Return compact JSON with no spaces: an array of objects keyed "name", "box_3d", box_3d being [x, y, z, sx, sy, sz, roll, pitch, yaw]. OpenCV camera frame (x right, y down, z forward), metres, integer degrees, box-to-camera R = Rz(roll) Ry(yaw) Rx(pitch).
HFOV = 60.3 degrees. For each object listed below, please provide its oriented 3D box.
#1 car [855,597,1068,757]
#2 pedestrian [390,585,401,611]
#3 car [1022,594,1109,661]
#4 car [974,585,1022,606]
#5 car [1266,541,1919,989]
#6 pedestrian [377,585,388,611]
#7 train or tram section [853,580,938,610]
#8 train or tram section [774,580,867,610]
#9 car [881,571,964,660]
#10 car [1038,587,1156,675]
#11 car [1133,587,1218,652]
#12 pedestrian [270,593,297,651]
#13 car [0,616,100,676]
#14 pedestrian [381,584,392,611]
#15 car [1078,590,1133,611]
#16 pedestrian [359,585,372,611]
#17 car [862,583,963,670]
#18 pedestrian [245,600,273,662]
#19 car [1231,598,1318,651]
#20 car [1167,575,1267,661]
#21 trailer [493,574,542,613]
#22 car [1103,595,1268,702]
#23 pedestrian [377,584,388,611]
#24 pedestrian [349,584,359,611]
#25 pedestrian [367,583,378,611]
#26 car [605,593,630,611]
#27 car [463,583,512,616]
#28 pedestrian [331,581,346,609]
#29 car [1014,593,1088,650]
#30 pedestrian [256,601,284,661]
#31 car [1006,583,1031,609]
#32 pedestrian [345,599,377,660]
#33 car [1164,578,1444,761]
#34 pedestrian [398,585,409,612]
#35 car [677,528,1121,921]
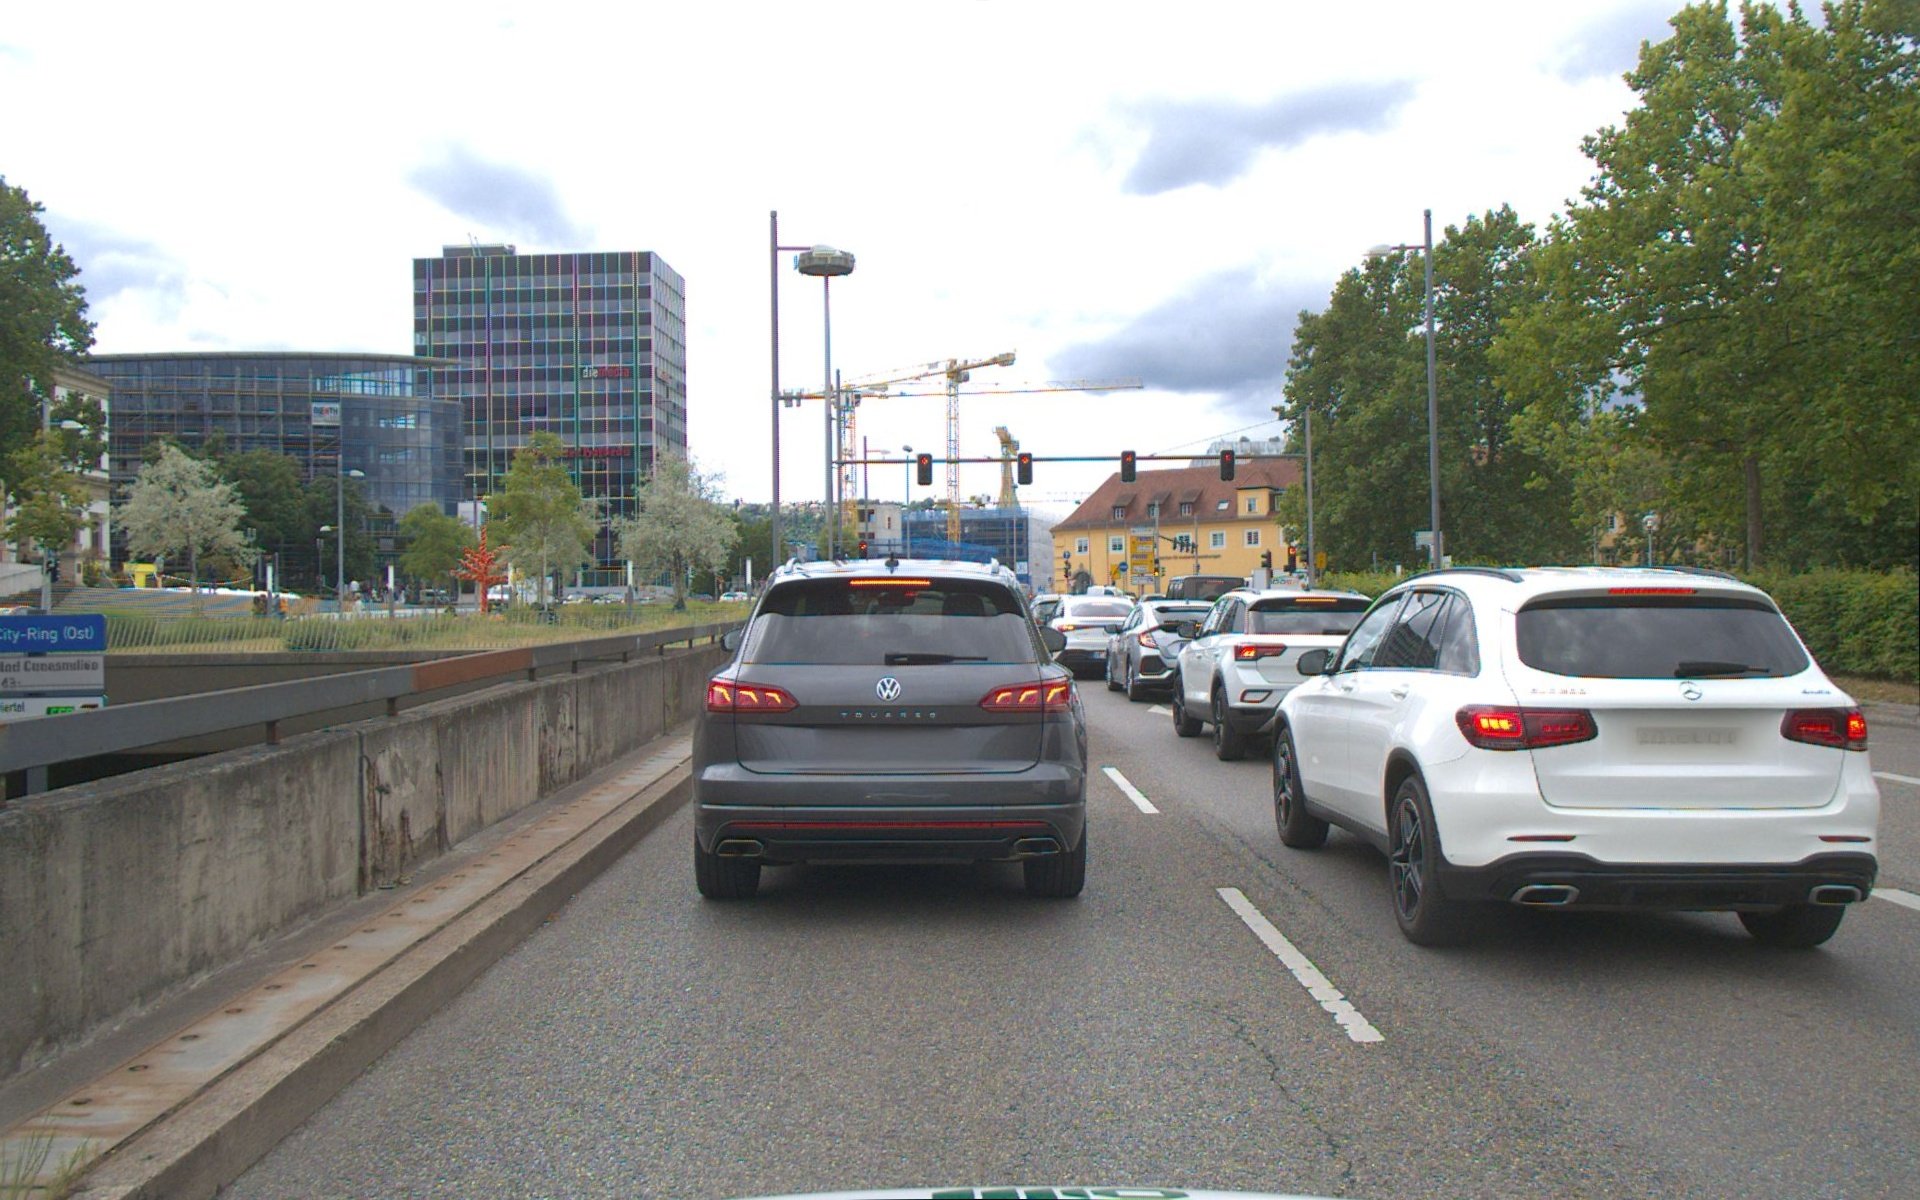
[{"name":"car","box_3d":[-0.024,0.700,16.948,1.912,1.408,3.930,1,0,-1]},{"name":"pedestrian","box_3d":[-44.230,-0.151,129.562,0.728,2.048,0.788,-1,1,-21]},{"name":"car","box_3d":[2.521,0.654,40.326,1.887,1.556,4.047,0,-1,0]},{"name":"car","box_3d":[3.745,-0.450,162.834,4.367,2.049,1.994,0,-2,33]},{"name":"car","box_3d":[2.921,0.592,8.490,1.887,1.682,4.490,0,1,0]},{"name":"pedestrian","box_3d":[-45.115,-0.176,129.217,0.728,2.048,0.788,-1,1,-21]},{"name":"train or tram section","box_3d":[-6.762,-0.522,172.992,8.753,3.062,2.592,0,-2,29]},{"name":"train or tram section","box_3d":[-15.011,-0.573,177.643,10.200,3.062,2.592,0,-2,30]},{"name":"car","box_3d":[-0.923,0.362,41.034,1.912,2.053,3.930,1,0,-1]},{"name":"car","box_3d":[2.530,0.569,31.507,1.887,1.556,4.489,0,-1,0]},{"name":"car","box_3d":[6.117,0.548,47.341,1.871,1.727,4.011,1,-1,0]},{"name":"pedestrian","box_3d":[-25.112,0.812,61.361,0.716,2.047,0.628,-1,5,-8]},{"name":"car","box_3d":[-31.453,1.531,56.092,2.130,1.887,4.735,-1,0,-1]},{"name":"pedestrian","box_3d":[-44.026,-0.204,126.903,0.728,2.048,0.788,-1,1,-21]},{"name":"car","box_3d":[11.654,0.060,132.906,4.029,1.638,1.823,0,-2,34]},{"name":"pedestrian","box_3d":[-48.187,-0.165,134.118,0.723,2.048,0.793,-1,1,0]},{"name":"car","box_3d":[-0.944,0.508,33.554,1.912,1.628,3.930,1,0,-1]},{"name":"pedestrian","box_3d":[-23.778,1.041,56.103,0.781,2.049,0.829,-1,1,-28]},{"name":"car","box_3d":[9.161,0.701,48.484,1.722,1.472,3.632,1,-1,-2]},{"name":"car","box_3d":[6.443,0.455,41.878,1.871,2.049,4.011,1,-1,0]},{"name":"trailer","box_3d":[-31.121,-0.506,116.367,1.996,2.650,5.507,1,1,-1]},{"name":"car","box_3d":[3.267,0.686,24.794,1.887,1.457,4.489,0,-1,0]},{"name":"pedestrian","box_3d":[-44.714,-0.193,128.063,0.728,2.048,0.788,-1,1,-21]},{"name":"pedestrian","box_3d":[-47.356,-0.220,129.271,0.728,2.048,0.788,-1,1,-21]},{"name":"pedestrian","box_3d":[-44.876,-0.231,126.432,0.728,2.048,1.108,-1,1,-21]},{"name":"car","box_3d":[-31.400,0.179,151.664,1.698,1.521,3.592,1,-1,-3]},{"name":"car","box_3d":[-31.785,-0.074,111.327,1.953,2.048,4.692,-1,1,0]},{"name":"pedestrian","box_3d":[-45.341,-0.365,120.643,0.724,2.048,1.113,-1,1,-6]},{"name":"car","box_3d":[2.524,0.601,46.615,1.887,1.556,4.047,0,-1,0]},{"name":"pedestrian","box_3d":[-23.752,1.060,56.960,0.781,2.049,0.829,-1,1,-28]},{"name":"car","box_3d":[4.036,-0.239,114.125,1.586,1.656,3.999,1,-1,0]},{"name":"pedestrian","box_3d":[-20.563,1.012,56.813,0.842,2.048,0.629,-1,1,-2]},{"name":"car","box_3d":[3.249,0.623,16.526,1.887,1.578,4.489,0,-1,0]},{"name":"pedestrian","box_3d":[-43.386,-0.136,129.009,0.728,2.048,1.108,-1,1,-21]},{"name":"car","box_3d":[-0.303,0.534,9.173,1.912,1.680,3.999,0,0,-1]}]
